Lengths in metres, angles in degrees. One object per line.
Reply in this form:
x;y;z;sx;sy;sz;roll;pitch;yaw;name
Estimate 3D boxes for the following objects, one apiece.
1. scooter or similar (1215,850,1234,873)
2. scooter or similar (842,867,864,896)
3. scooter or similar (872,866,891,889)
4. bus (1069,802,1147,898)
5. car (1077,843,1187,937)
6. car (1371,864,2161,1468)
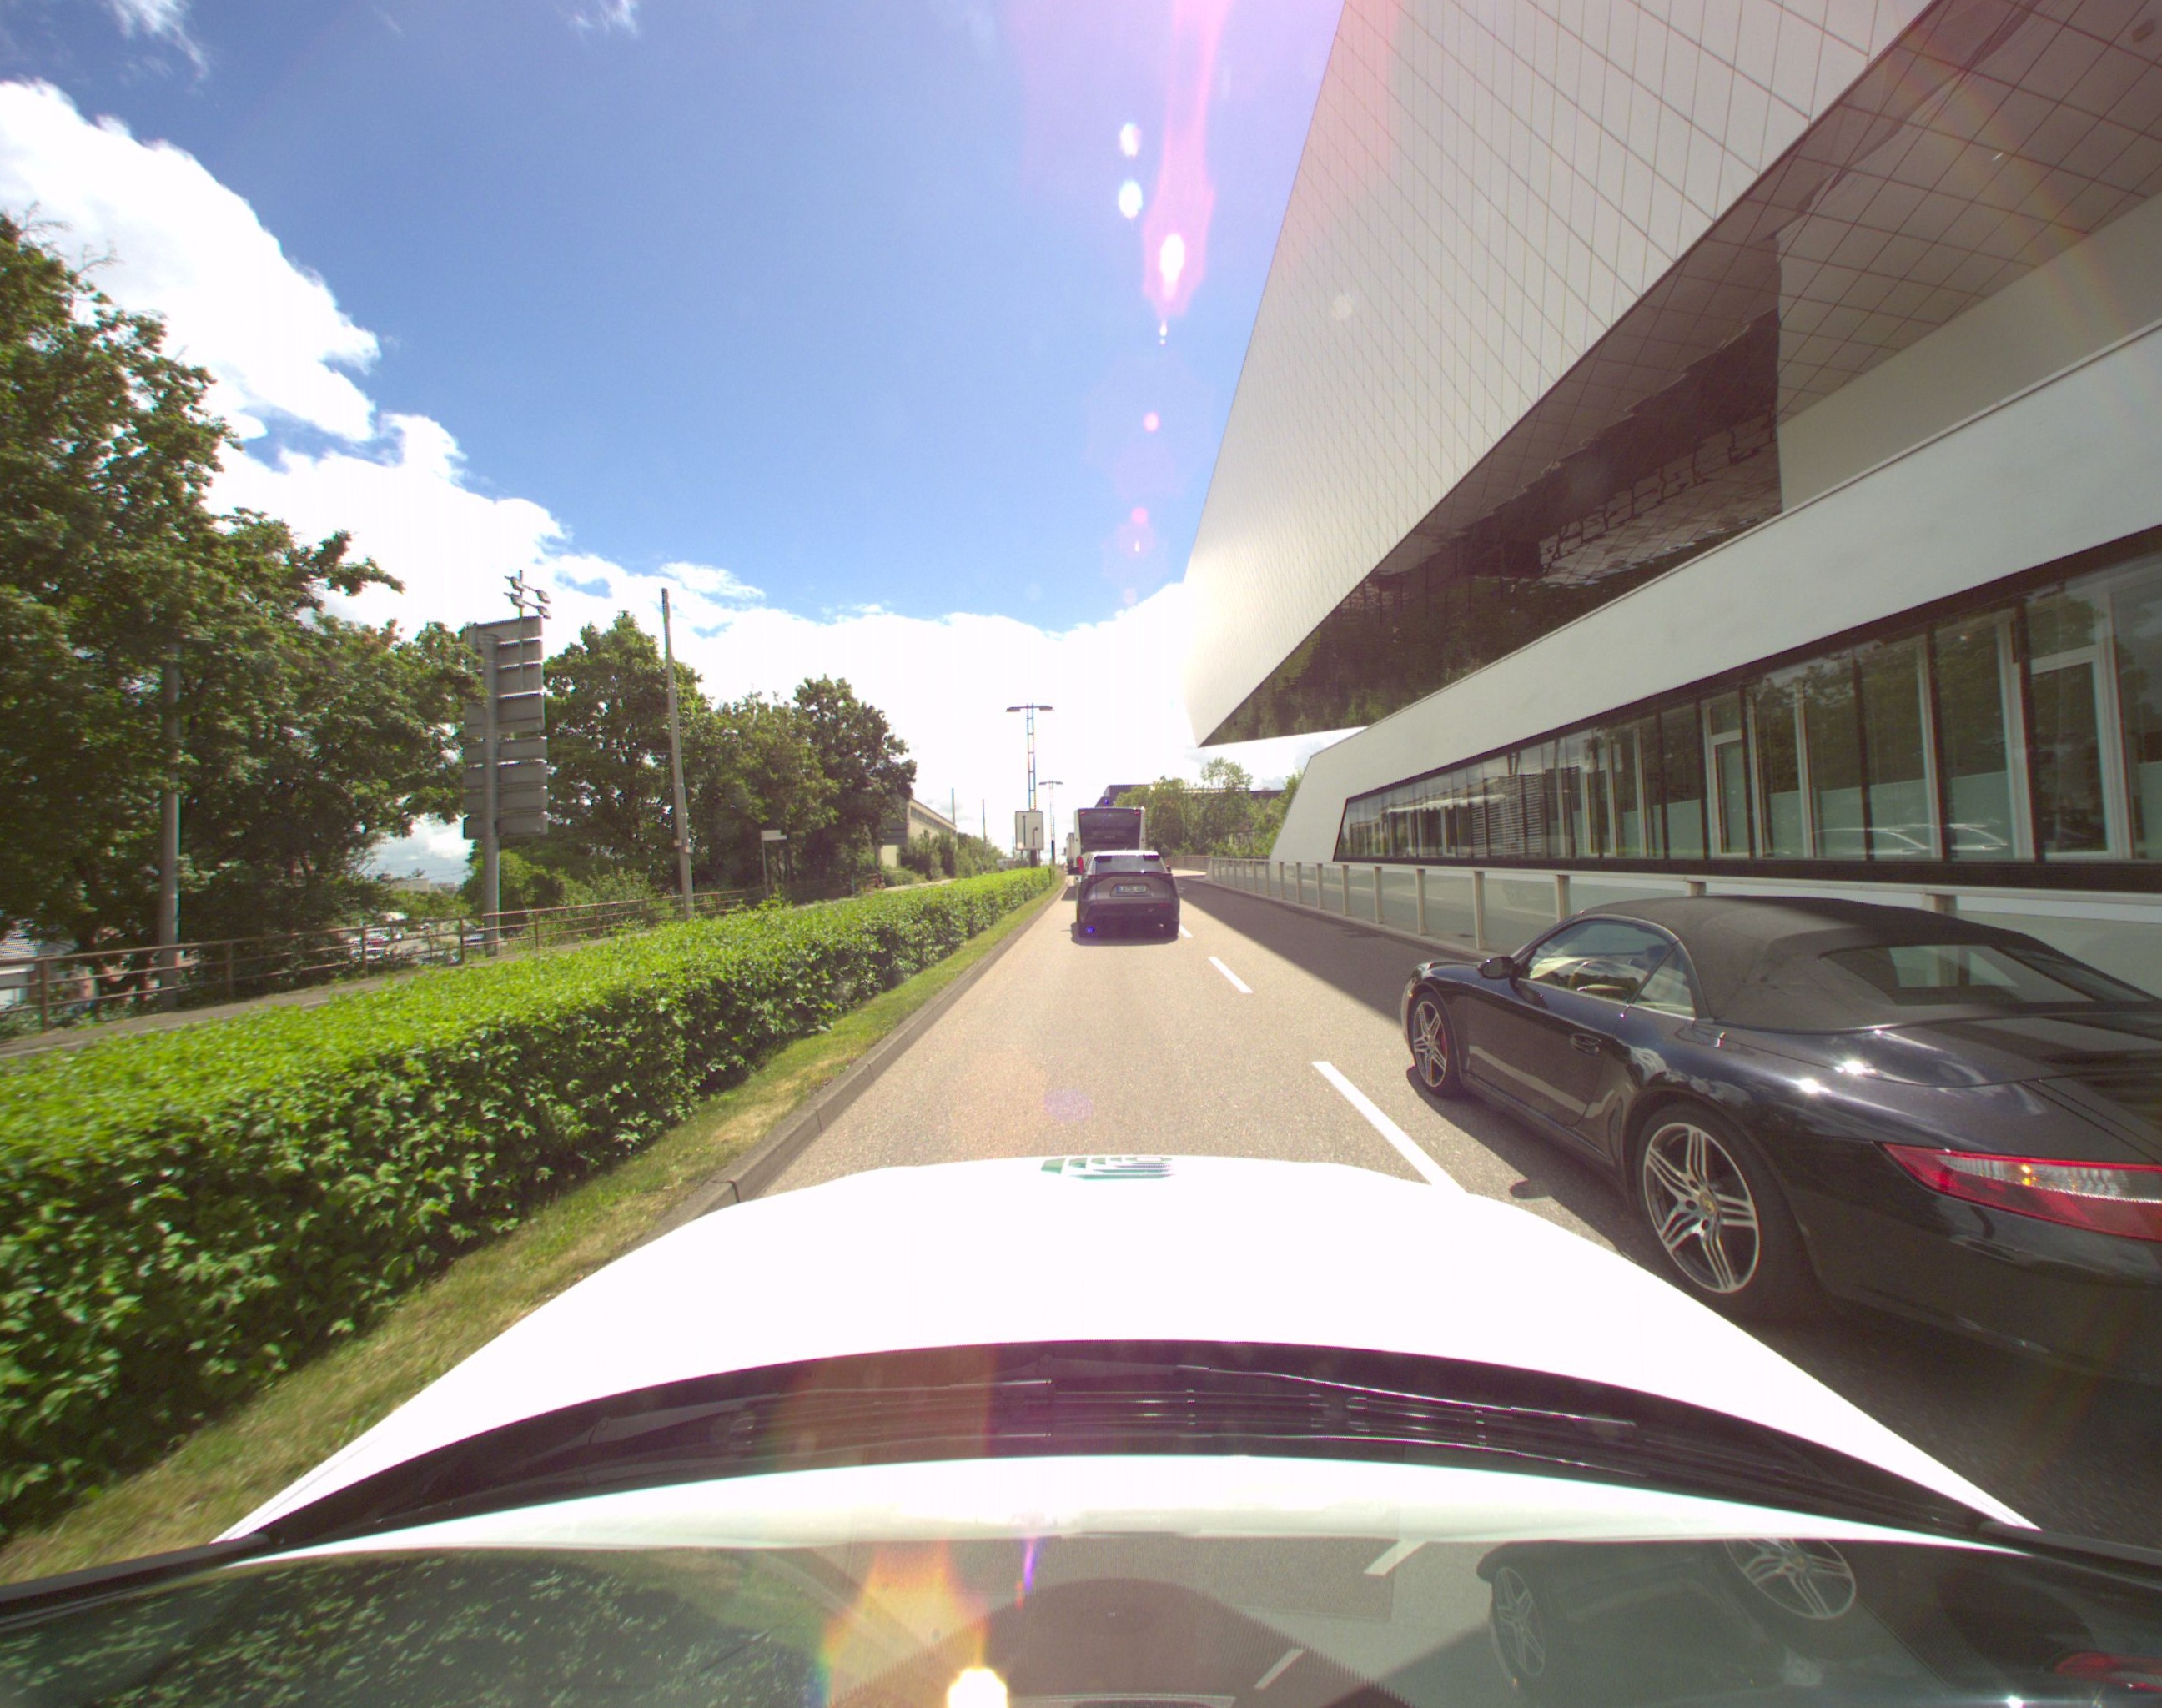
7.880;0.436;44.788;0.651;1.214;1.856;-3;-1;-2;scooter or similar
-10.891;1.291;38.940;0.489;1.304;1.644;-1;0;3;scooter or similar
-10.836;1.265;44.358;0.489;1.216;1.644;-3;0;3;scooter or similar
1.148;-0.204;34.115;2.678;3.255;12.063;-1;1;2;bus
0.907;0.646;16.211;1.873;1.594;4.229;-1;-1;1;car
2.912;0.711;3.837;1.713;1.275;4.089;-1;0;1;car
